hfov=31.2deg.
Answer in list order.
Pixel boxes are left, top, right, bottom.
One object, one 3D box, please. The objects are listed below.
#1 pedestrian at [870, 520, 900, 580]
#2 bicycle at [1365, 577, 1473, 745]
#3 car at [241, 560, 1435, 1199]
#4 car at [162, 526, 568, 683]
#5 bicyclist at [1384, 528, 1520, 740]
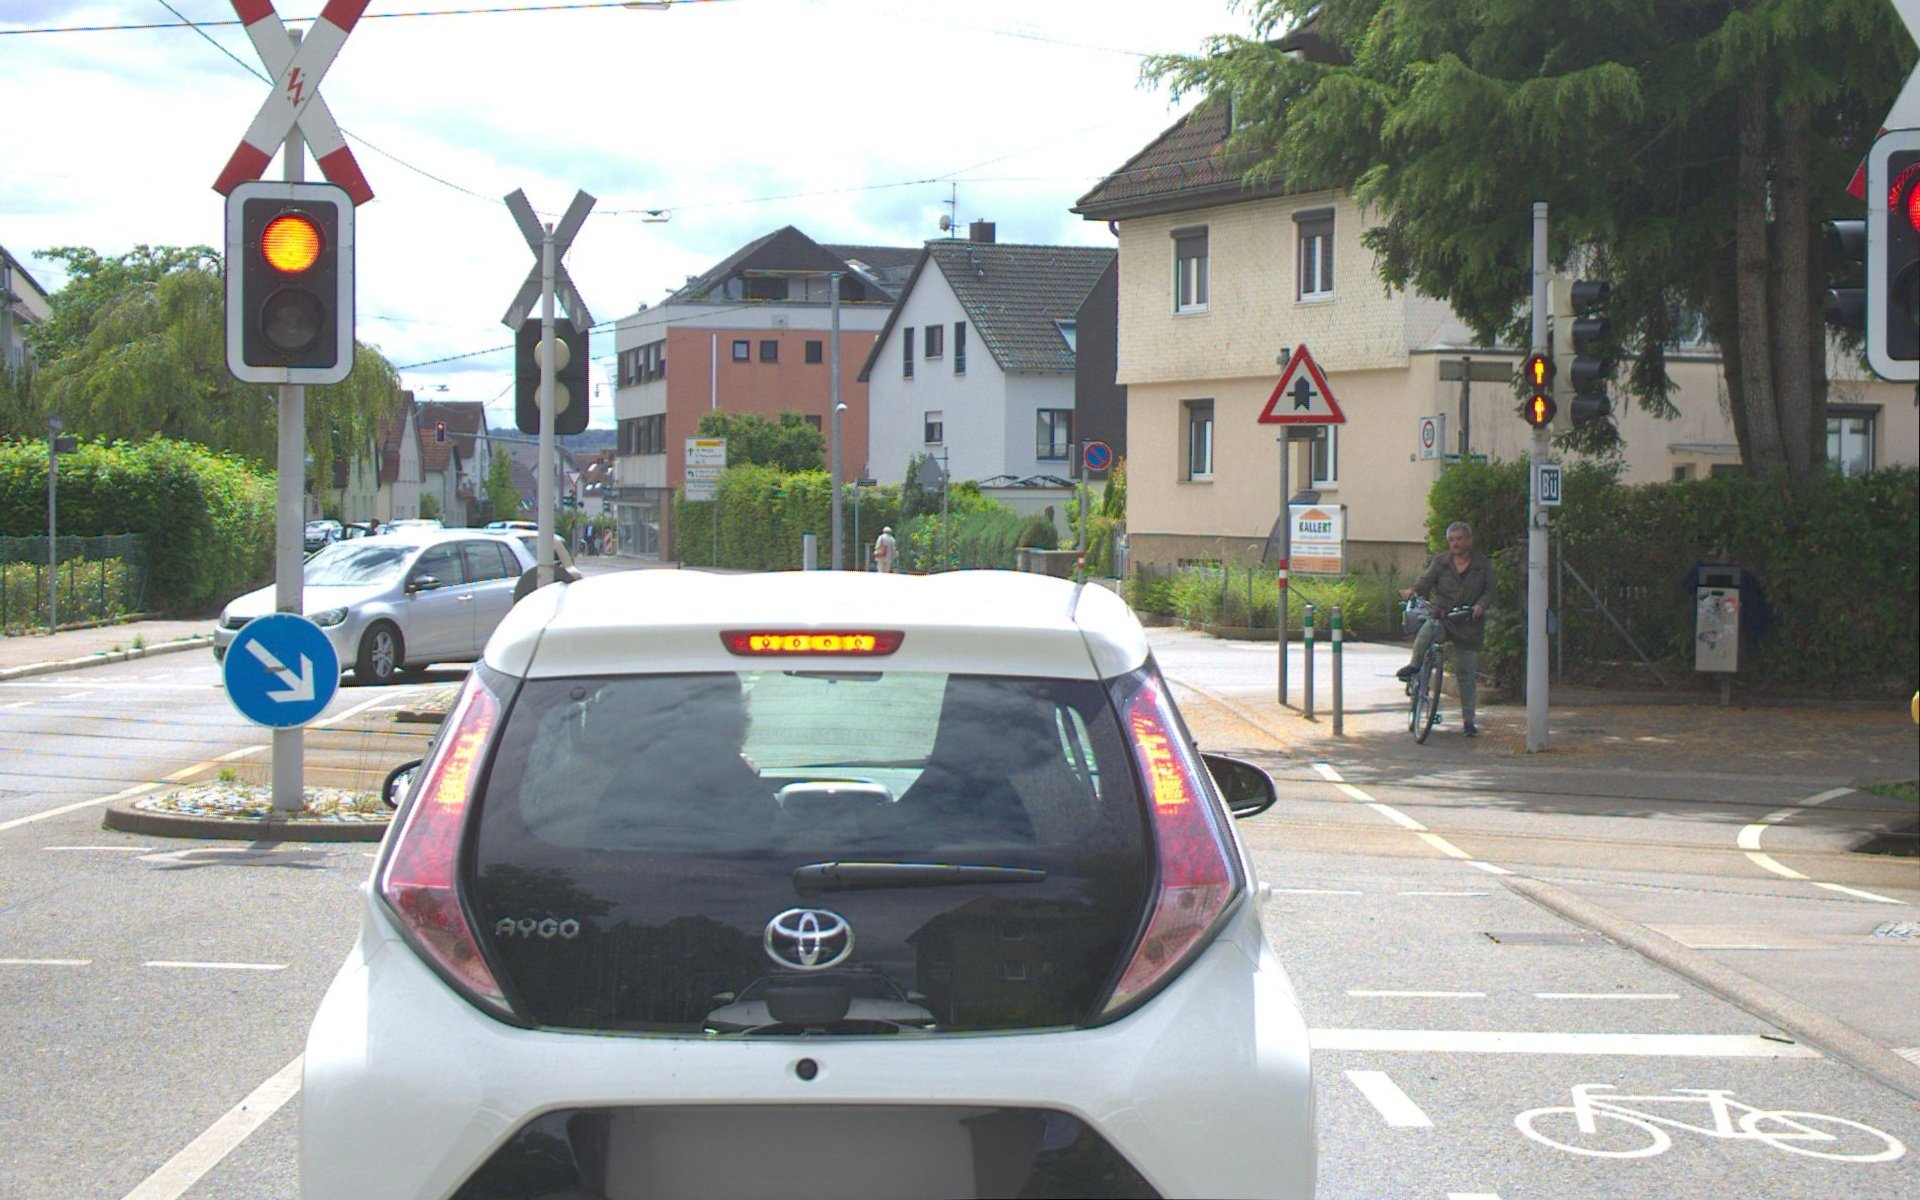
[{"bbox_3d":[-1.991,-1.326,91.336,0.726,1.571,0.803,2,1,-4],"label":"pedestrian"},{"bbox_3d":[3.530,0.456,26.534,0.457,1.168,1.480,-2,4,-6],"label":"bicycle"},{"bbox_3d":[-0.304,0.675,6.880,1.721,1.437,3.709,2,1,-4],"label":"car"},{"bbox_3d":[-5.921,0.032,34.696,1.908,1.436,4.092,2,1,28],"label":"car"},{"bbox_3d":[3.789,0.249,26.507,0.840,1.548,0.756,-2,3,-6],"label":"bicyclist"}]
